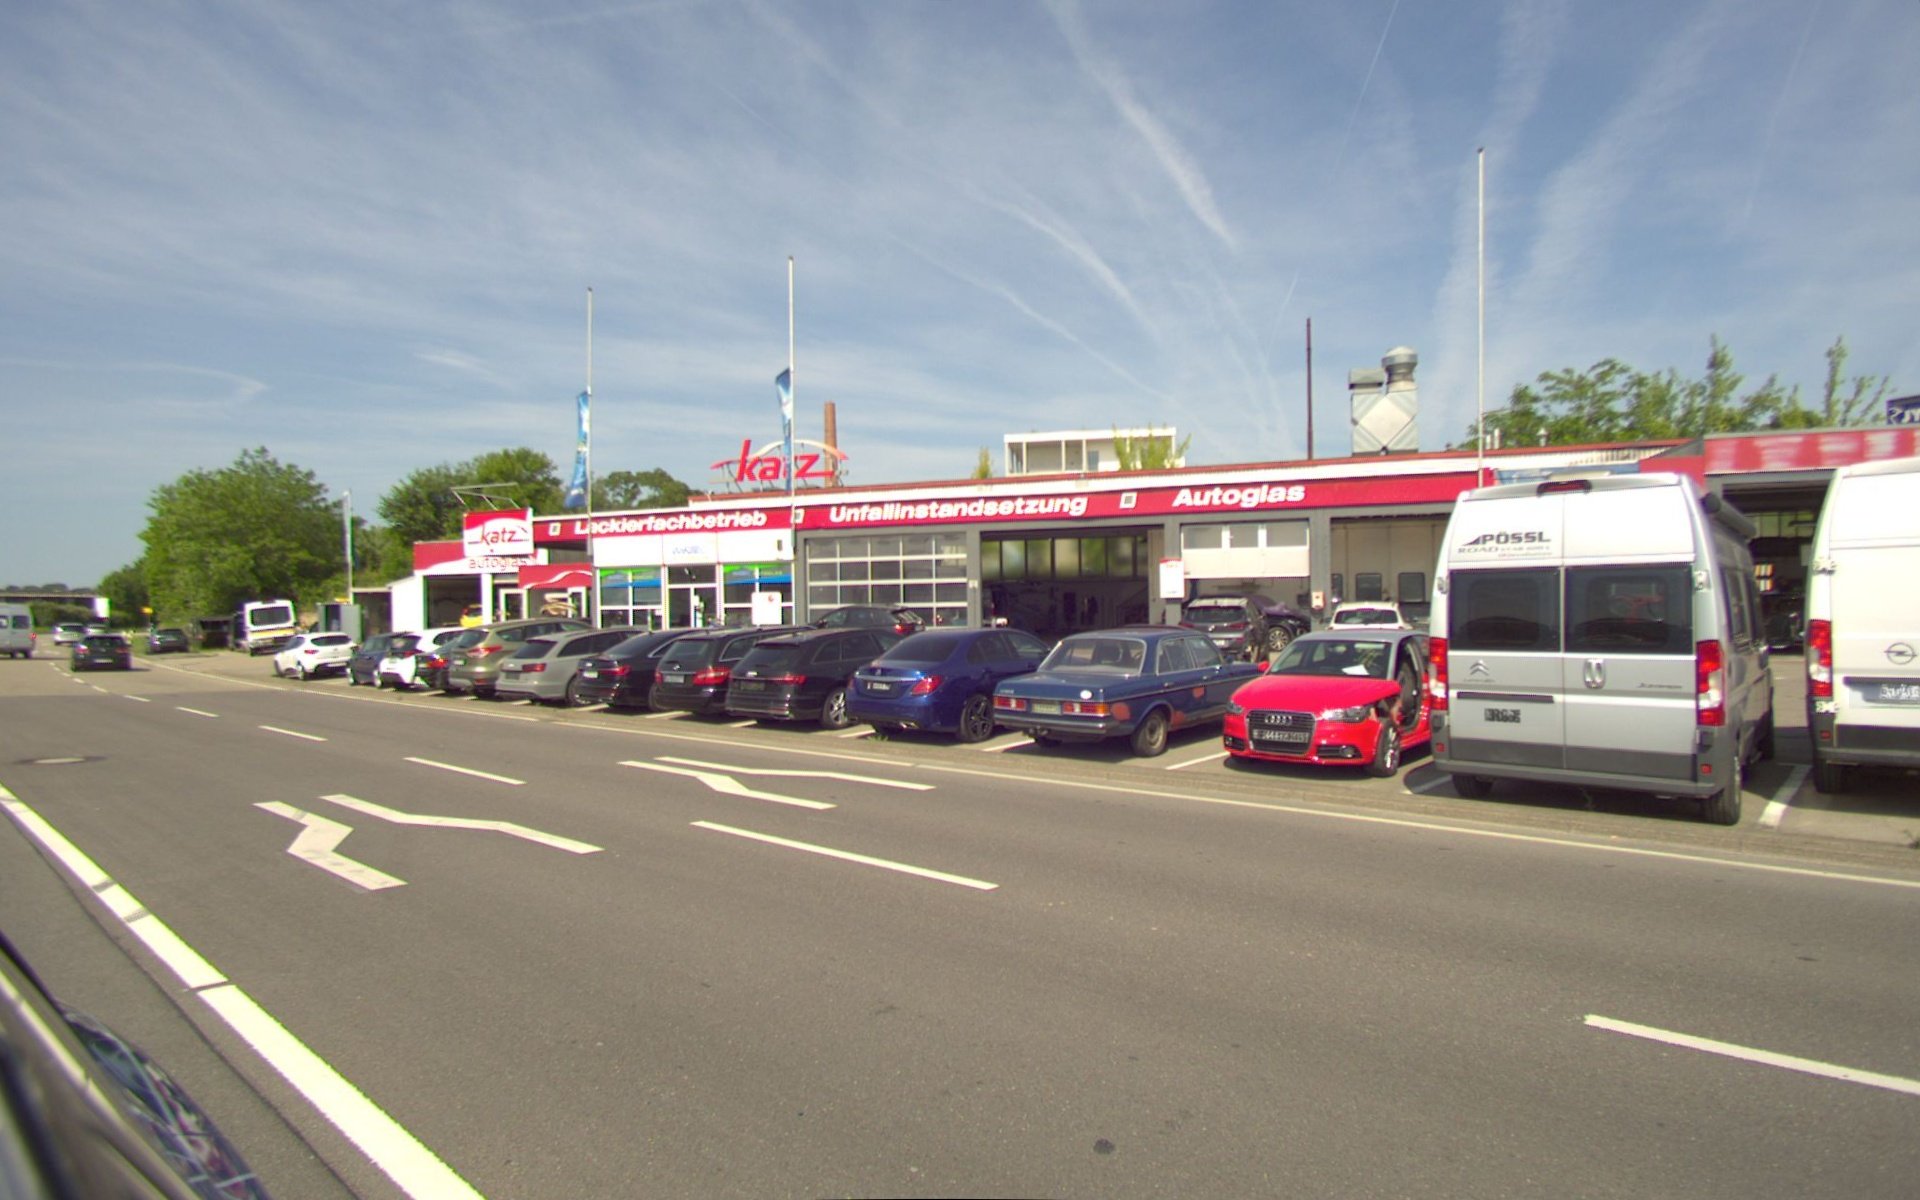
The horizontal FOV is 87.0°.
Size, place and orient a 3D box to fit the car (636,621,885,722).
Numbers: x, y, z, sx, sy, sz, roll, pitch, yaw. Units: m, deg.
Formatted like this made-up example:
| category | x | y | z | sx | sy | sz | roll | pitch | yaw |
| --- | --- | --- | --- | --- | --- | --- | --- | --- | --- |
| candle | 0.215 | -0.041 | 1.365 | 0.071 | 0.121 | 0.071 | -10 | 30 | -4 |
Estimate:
| category | x | y | z | sx | sy | sz | roll | pitch | yaw |
| --- | --- | --- | --- | --- | --- | --- | --- | --- | --- |
| car | -3.370 | 1.146 | 17.515 | 1.949 | 1.511 | 3.826 | -2 | -2 | 43 |

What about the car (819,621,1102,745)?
| category | x | y | z | sx | sy | sz | roll | pitch | yaw |
| --- | --- | --- | --- | --- | --- | --- | --- | --- | --- |
| car | 0.129 | 1.050 | 14.363 | 1.905 | 1.465 | 3.945 | -2 | -2 | 41 |

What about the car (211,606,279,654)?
| category | x | y | z | sx | sy | sz | roll | pitch | yaw |
| --- | --- | --- | --- | --- | --- | --- | --- | --- | --- |
| car | -41.421 | 1.726 | 58.585 | 2.405 | 2.563 | 5.343 | -1 | -1 | -44 |

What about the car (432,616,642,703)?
| category | x | y | z | sx | sy | sz | roll | pitch | yaw |
| --- | --- | --- | --- | --- | --- | --- | --- | --- | --- |
| car | -9.382 | 1.256 | 22.661 | 1.871 | 1.740 | 3.944 | -2 | -2 | 42 |

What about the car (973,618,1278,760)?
| category | x | y | z | sx | sy | sz | roll | pitch | yaw |
| --- | --- | --- | --- | --- | --- | --- | --- | --- | --- |
| car | 2.250 | 0.989 | 12.900 | 1.873 | 1.479 | 4.202 | -2 | -2 | 42 |

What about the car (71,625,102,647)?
| category | x | y | z | sx | sy | sz | roll | pitch | yaw |
| --- | --- | --- | --- | --- | --- | --- | --- | --- | --- |
| car | -76.044 | 3.157 | 88.092 | 1.947 | 1.837 | 4.207 | 2 | -3 | -42 |

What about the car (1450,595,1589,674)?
| category | x | y | z | sx | sy | sz | roll | pitch | yaw |
| --- | --- | --- | --- | --- | --- | --- | --- | --- | --- |
| car | 11.877 | 0.709 | 21.748 | 1.869 | 1.531 | 3.920 | -1 | -1 | 18 |

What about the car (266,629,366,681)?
| category | x | y | z | sx | sy | sz | roll | pitch | yaw |
| --- | --- | --- | --- | --- | --- | --- | --- | --- | --- |
| car | -20.768 | 1.719 | 32.591 | 4.000 | 1.425 | 1.742 | -2 | 2 | 43 |

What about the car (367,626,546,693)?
| category | x | y | z | sx | sy | sz | roll | pitch | yaw |
| --- | --- | --- | --- | --- | --- | --- | --- | --- | --- |
| car | -13.049 | 1.482 | 26.379 | 1.940 | 1.562 | 3.750 | -2 | -2 | 39 |

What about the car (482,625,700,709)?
| category | x | y | z | sx | sy | sz | roll | pitch | yaw |
| --- | --- | --- | --- | --- | --- | --- | --- | --- | --- |
| car | -7.507 | 1.303 | 20.884 | 1.737 | 1.504 | 3.925 | -2 | -1 | 38 |

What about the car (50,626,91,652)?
| category | x | y | z | sx | sy | sz | roll | pitch | yaw |
| --- | --- | --- | --- | --- | --- | --- | --- | --- | --- |
| car | -66.073 | 2.882 | 75.232 | 2.023 | 1.837 | 4.516 | 2 | -3 | -39 |

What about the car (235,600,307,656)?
| category | x | y | z | sx | sy | sz | roll | pitch | yaw |
| --- | --- | --- | --- | --- | --- | --- | --- | --- | --- |
| car | -33.854 | 1.356 | 49.895 | 2.399 | 2.563 | 6.060 | -1 | -1 | -29 |

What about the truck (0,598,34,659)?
| category | x | y | z | sx | sy | sz | roll | pitch | yaw |
| --- | --- | --- | --- | --- | --- | --- | --- | --- | --- |
| truck | -47.355 | 1.379 | 49.282 | 6.034 | 2.858 | 2.412 | -2 | -2 | 39 |

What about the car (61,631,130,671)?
| category | x | y | z | sx | sy | sz | roll | pitch | yaw |
| --- | --- | --- | --- | --- | --- | --- | --- | --- | --- |
| car | -33.795 | 1.955 | 39.527 | 1.832 | 1.471 | 4.003 | 1 | -2 | -44 |

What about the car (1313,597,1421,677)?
| category | x | y | z | sx | sy | sz | roll | pitch | yaw |
| --- | --- | --- | --- | --- | --- | --- | --- | --- | --- |
| car | 9.183 | 0.783 | 22.652 | 1.977 | 1.619 | 3.966 | -1 | -1 | 25 |

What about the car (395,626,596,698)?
| category | x | y | z | sx | sy | sz | roll | pitch | yaw |
| --- | --- | --- | --- | --- | --- | --- | --- | --- | --- |
| car | -11.121 | 1.424 | 24.426 | 1.998 | 1.537 | 3.947 | -2 | -1 | 39 |

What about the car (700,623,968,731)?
| category | x | y | z | sx | sy | sz | roll | pitch | yaw |
| --- | --- | --- | --- | --- | --- | --- | --- | --- | --- |
| car | -1.896 | 1.115 | 16.092 | 1.945 | 1.463 | 3.945 | -2 | -2 | 41 |

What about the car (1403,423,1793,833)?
| category | x | y | z | sx | sy | sz | roll | pitch | yaw |
| --- | --- | --- | --- | --- | --- | --- | --- | --- | --- |
| car | 6.345 | 0.228 | 9.676 | 2.177 | 2.794 | 5.506 | -2 | -2 | 42 |

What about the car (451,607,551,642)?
| category | x | y | z | sx | sy | sz | roll | pitch | yaw |
| --- | --- | --- | --- | --- | --- | --- | --- | --- | --- |
| car | -22.837 | 1.186 | 50.505 | 1.863 | 1.667 | 4.502 | -1 | -1 | 22 |

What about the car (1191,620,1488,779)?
| category | x | y | z | sx | sy | sz | roll | pitch | yaw |
| --- | --- | --- | --- | --- | --- | --- | --- | --- | --- |
| car | 4.409 | 0.970 | 11.443 | 1.827 | 1.442 | 3.896 | -2 | -2 | 42 |

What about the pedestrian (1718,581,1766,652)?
| category | x | y | z | sx | sy | sz | roll | pitch | yaw |
| --- | --- | --- | --- | --- | --- | --- | --- | --- | --- |
| pedestrian | 19.525 | 0.398 | 25.286 | 0.739 | 1.740 | 0.860 | -1 | 1 | 24 |

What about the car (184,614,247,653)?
| category | x | y | z | sx | sy | sz | roll | pitch | yaw |
| --- | --- | --- | --- | --- | --- | --- | --- | --- | --- |
| car | -45.888 | 2.056 | 62.356 | 2.405 | 2.281 | 5.343 | -1 | -1 | -44 |

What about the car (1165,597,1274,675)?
| category | x | y | z | sx | sy | sz | roll | pitch | yaw |
| --- | --- | --- | --- | --- | --- | --- | --- | --- | --- |
| car | 6.107 | 0.791 | 23.504 | 1.864 | 1.631 | 3.969 | -1 | -1 | 23 |

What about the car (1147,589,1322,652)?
| category | x | y | z | sx | sy | sz | roll | pitch | yaw |
| --- | --- | --- | --- | --- | --- | --- | --- | --- | --- |
| car | 7.706 | 0.599 | 28.503 | 4.447 | 1.667 | 1.858 | -1 | -1 | 28 |

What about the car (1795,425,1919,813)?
| category | x | y | z | sx | sy | sz | roll | pitch | yaw |
| --- | --- | --- | --- | --- | --- | --- | --- | --- | --- |
| car | 9.283 | 0.144 | 9.293 | 2.116 | 2.860 | 5.647 | -3 | -2 | 42 |

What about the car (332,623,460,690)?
| category | x | y | z | sx | sy | sz | roll | pitch | yaw |
| --- | --- | --- | --- | --- | --- | --- | --- | --- | --- |
| car | -15.724 | 1.507 | 28.143 | 4.001 | 1.567 | 1.972 | -2 | 2 | 44 |

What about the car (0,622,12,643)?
| category | x | y | z | sx | sy | sz | roll | pitch | yaw |
| --- | --- | --- | --- | --- | --- | --- | --- | --- | --- |
| car | -83.865 | 2.821 | 87.672 | 2.023 | 1.837 | 4.517 | 2 | -3 | -38 |

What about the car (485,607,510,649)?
| category | x | y | z | sx | sy | sz | roll | pitch | yaw |
| --- | --- | --- | --- | --- | --- | --- | --- | --- | --- |
| car | -21.074 | 1.269 | 46.093 | 0.868 | 1.850 | 0.847 | 0 | -1 | -36 |

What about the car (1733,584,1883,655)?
| category | x | y | z | sx | sy | sz | roll | pitch | yaw |
| --- | --- | --- | --- | --- | --- | --- | --- | --- | --- |
| car | 20.759 | 0.423 | 24.976 | 1.858 | 1.574 | 4.067 | -1 | 1 | 26 |

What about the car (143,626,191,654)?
| category | x | y | z | sx | sy | sz | roll | pitch | yaw |
| --- | --- | --- | --- | --- | --- | --- | --- | --- | --- |
| car | -45.232 | 2.258 | 57.668 | 1.801 | 1.538 | 4.464 | 2 | -3 | -42 |

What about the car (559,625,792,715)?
| category | x | y | z | sx | sy | sz | roll | pitch | yaw |
| --- | --- | --- | --- | --- | --- | --- | --- | --- | --- |
| car | -5.308 | 1.240 | 19.206 | 1.756 | 1.493 | 3.943 | -2 | -2 | 43 |

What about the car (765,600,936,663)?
| category | x | y | z | sx | sy | sz | roll | pitch | yaw |
| --- | --- | --- | --- | --- | --- | --- | --- | --- | --- |
| car | -3.110 | 0.890 | 28.718 | 4.508 | 1.667 | 1.860 | -1 | -1 | 24 |
